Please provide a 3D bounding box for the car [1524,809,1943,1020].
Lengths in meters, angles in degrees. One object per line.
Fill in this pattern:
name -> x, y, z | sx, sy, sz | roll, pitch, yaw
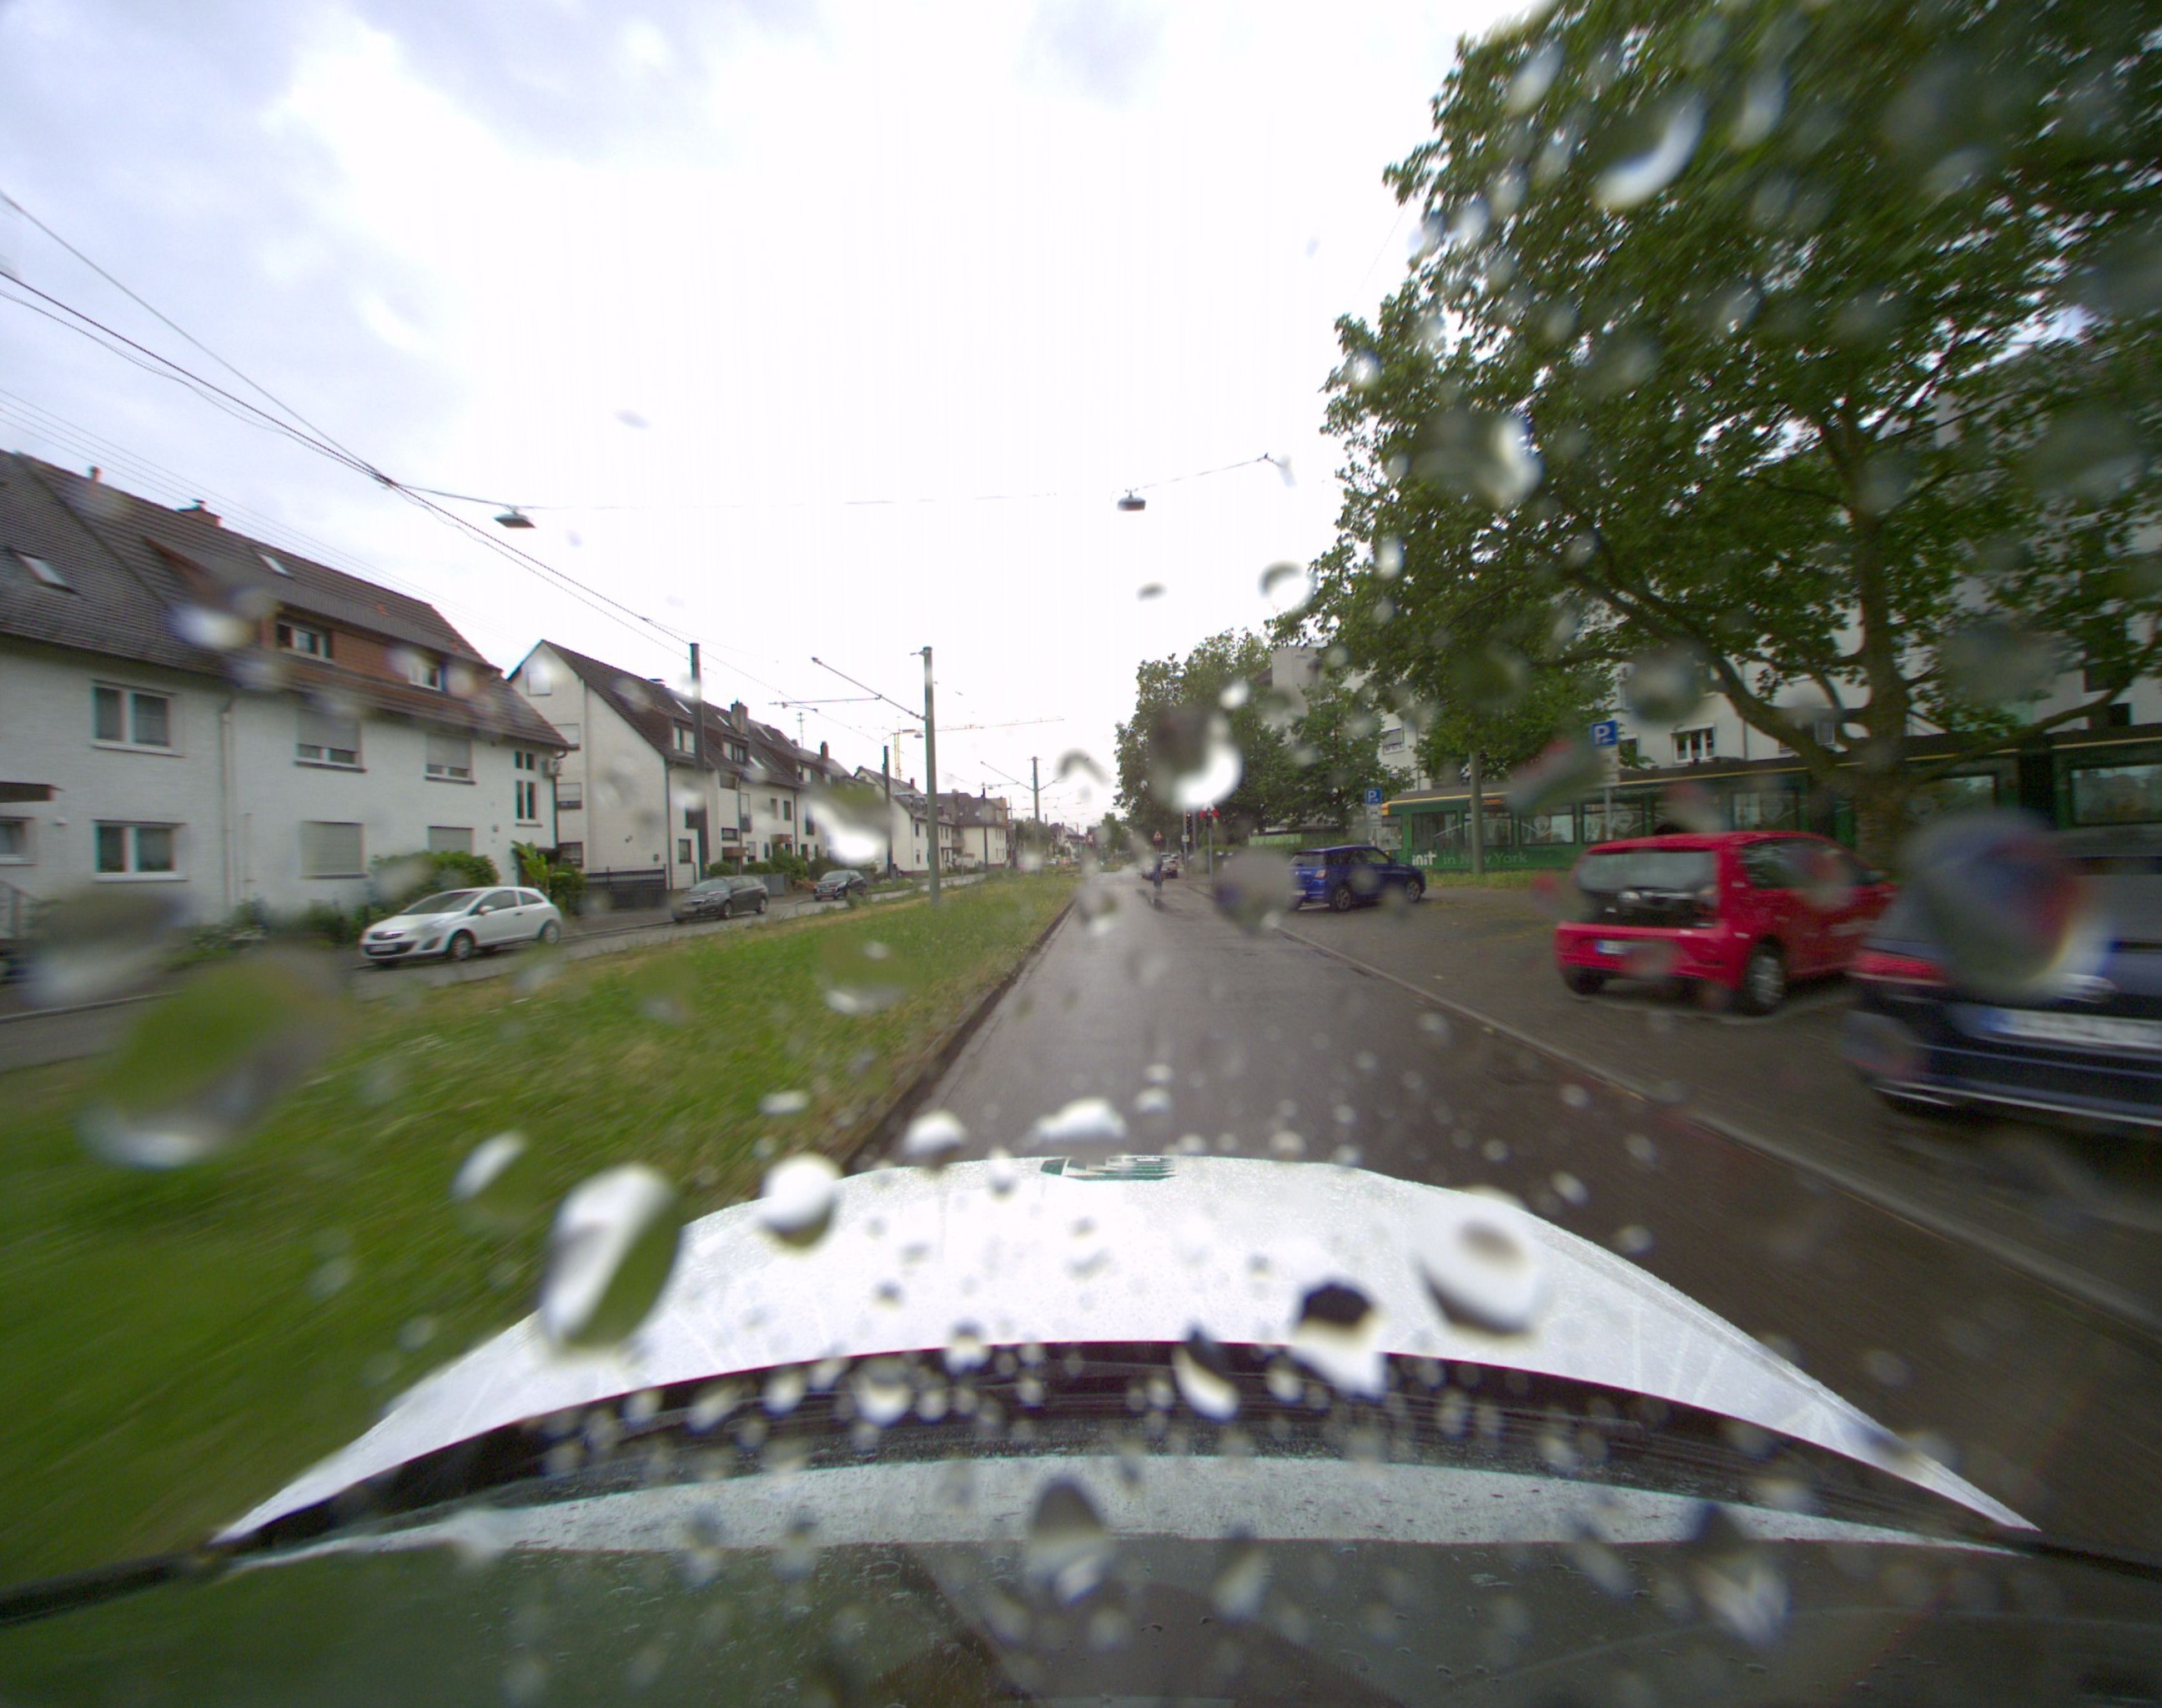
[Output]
car -> 6.223, 0.440, 7.762 | 3.605, 1.480, 1.624 | -4, 0, -25

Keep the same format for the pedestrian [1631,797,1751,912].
pedestrian -> 9.724, 0.015, 13.041 | 1.040, 1.714, 1.081 | -3, -1, 2

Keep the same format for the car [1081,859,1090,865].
car -> 1.270, 2.144, 223.108 | 1.985, 1.544, 4.003 | -2, -2, 3

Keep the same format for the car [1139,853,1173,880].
car -> 5.088, 0.836, 55.765 | 1.935, 1.652, 4.000 | -4, -1, 1

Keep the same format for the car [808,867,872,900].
car -> -12.108, 1.513, 41.184 | 1.870, 1.503, 4.135 | -2, -2, 2

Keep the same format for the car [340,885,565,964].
car -> -13.136, 1.416, 17.353 | 1.594, 1.424, 3.945 | -2, -2, 2

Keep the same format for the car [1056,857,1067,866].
car -> -3.965, 1.574, 166.275 | 1.985, 1.544, 4.003 | -2, -2, 3

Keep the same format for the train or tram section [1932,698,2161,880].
train or tram section -> 25.278, -1.453, 13.956 | 2.729, 3.590, 14.561 | 0, -2, -41

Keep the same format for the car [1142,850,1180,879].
car -> 4.871, 0.652, 49.972 | 1.948, 1.553, 4.000 | -4, -1, 1

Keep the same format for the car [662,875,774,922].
car -> -12.564, 1.524, 28.540 | 1.594, 1.424, 4.669 | -2, -2, 2

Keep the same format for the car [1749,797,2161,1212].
car -> 5.621, 0.475, 4.308 | 4.136, 1.480, 1.848 | -4, 0, -30

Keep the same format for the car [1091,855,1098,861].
car -> 4.101, 1.303, 245.252 | 1.985, 1.544, 4.003 | -2, -2, 3

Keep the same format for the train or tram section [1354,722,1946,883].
train or tram section -> 15.768, -0.986, 24.981 | 2.729, 3.590, 14.561 | 0, -2, -41

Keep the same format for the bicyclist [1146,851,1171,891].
bicyclist -> 3.133, 0.680, 32.816 | 0.828, 1.558, 0.913 | -3, -1, -1

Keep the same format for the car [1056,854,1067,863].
car -> -4.055, 1.049, 172.138 | 1.985, 1.705, 4.003 | -2, -2, 3

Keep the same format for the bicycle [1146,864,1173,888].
bicycle -> 3.143, 0.890, 32.832 | 0.819, 0.912, 1.985 | -3, -1, -1

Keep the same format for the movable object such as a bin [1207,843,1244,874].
movable object such as a bin -> 8.442, 0.292, 47.607 | 1.555, 1.704, 1.489 | -3, -1, -22

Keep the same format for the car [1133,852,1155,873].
car -> 6.484, 0.875, 84.780 | 1.935, 2.013, 4.000 | -4, -1, 1

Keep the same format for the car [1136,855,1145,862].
car -> 14.301, 1.123, 195.219 | 1.986, 1.492, 4.002 | -2, -2, 2

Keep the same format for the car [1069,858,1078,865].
car -> -1.815, 1.904, 197.551 | 1.985, 1.544, 4.003 | -2, -2, 3

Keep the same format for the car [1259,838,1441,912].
car -> 6.526, 0.435, 19.718 | 4.012, 1.483, 1.981 | -3, 1, -30
